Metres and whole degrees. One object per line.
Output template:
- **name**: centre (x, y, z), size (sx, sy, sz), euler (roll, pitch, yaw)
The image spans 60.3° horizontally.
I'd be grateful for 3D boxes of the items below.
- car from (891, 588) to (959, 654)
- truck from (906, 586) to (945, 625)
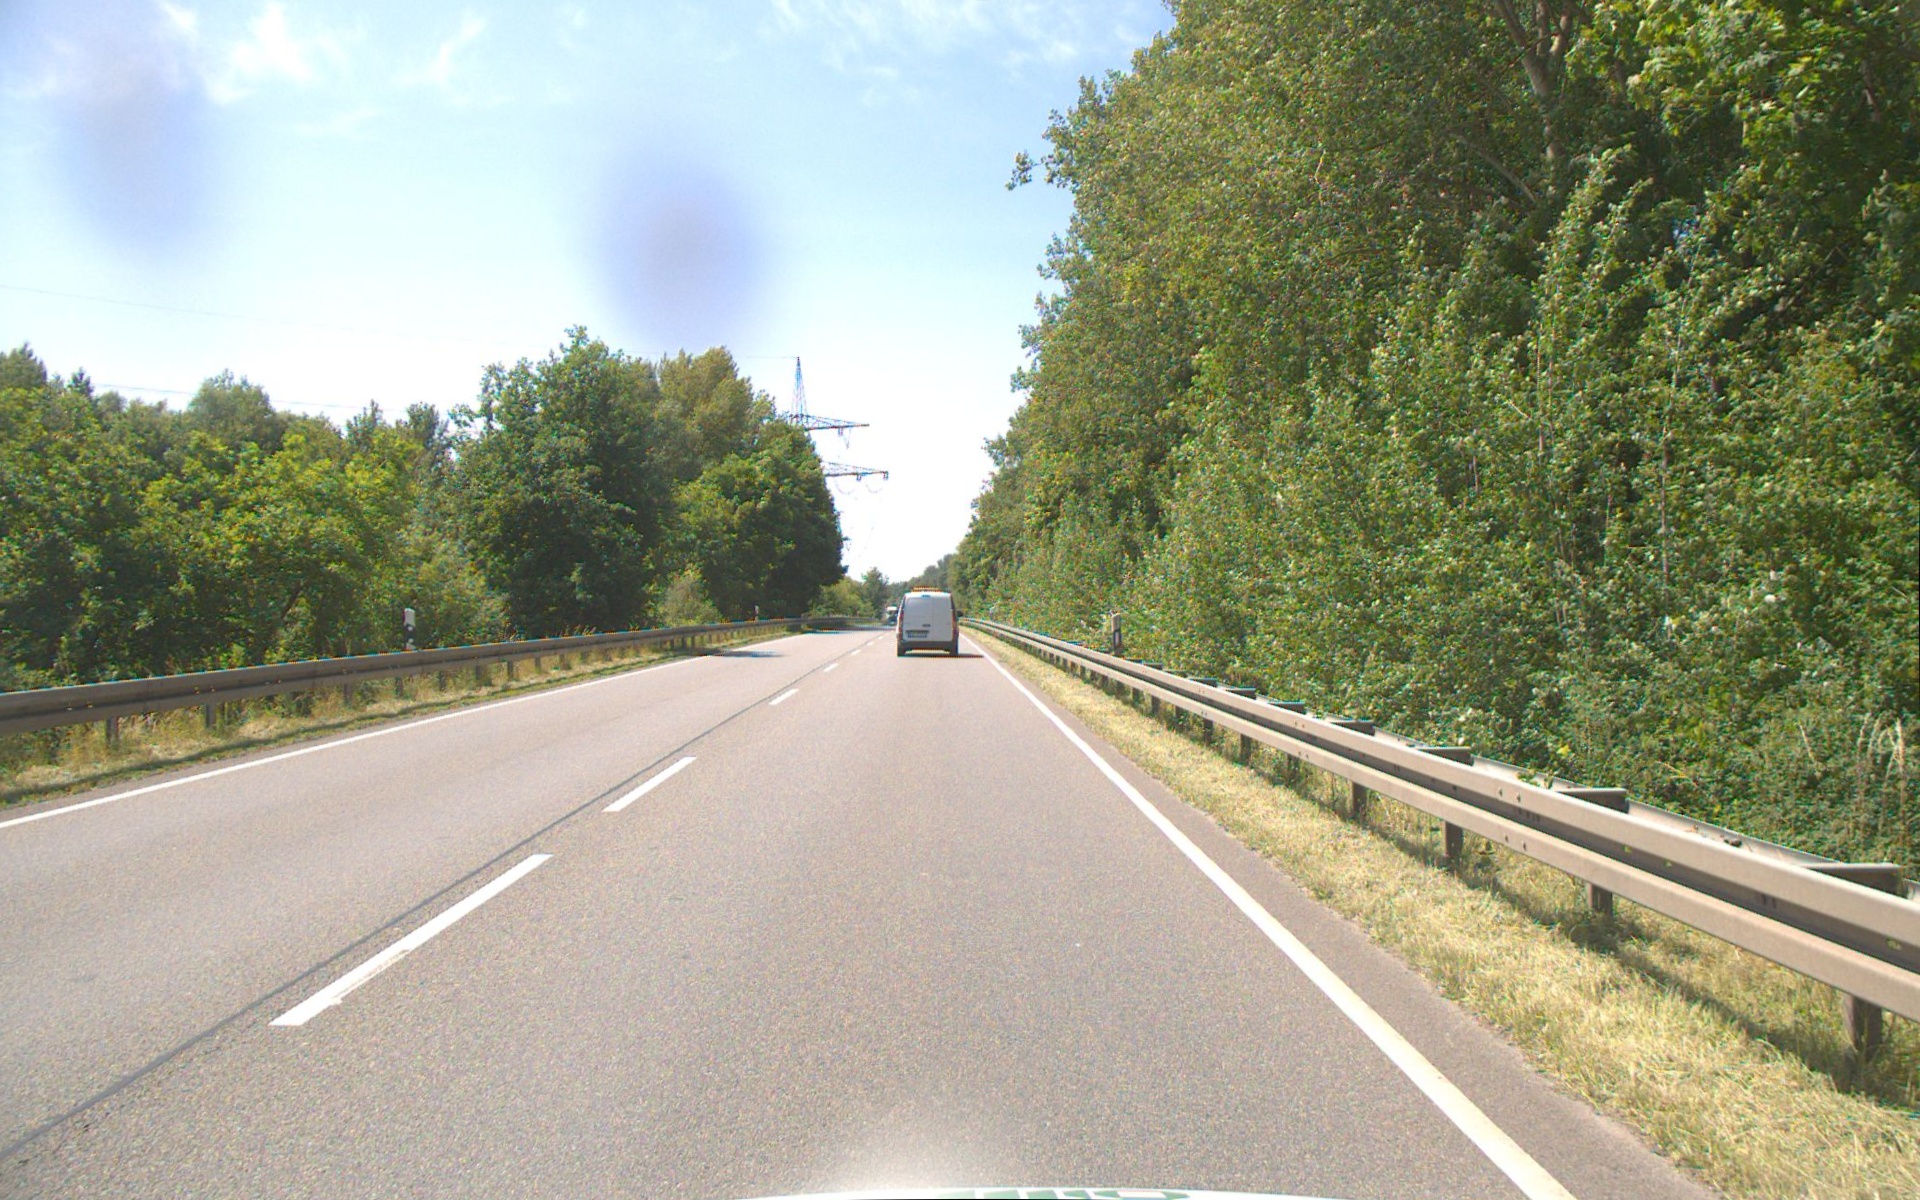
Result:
- **car**: centre (-1.015, 0.576, 47.309), size (1.837, 1.772, 3.999), euler (1, 0, -1)
- **truck**: centre (-3.100, 0.483, 145.966), size (3.230, 3.227, 14.400), euler (1, 0, -1)
